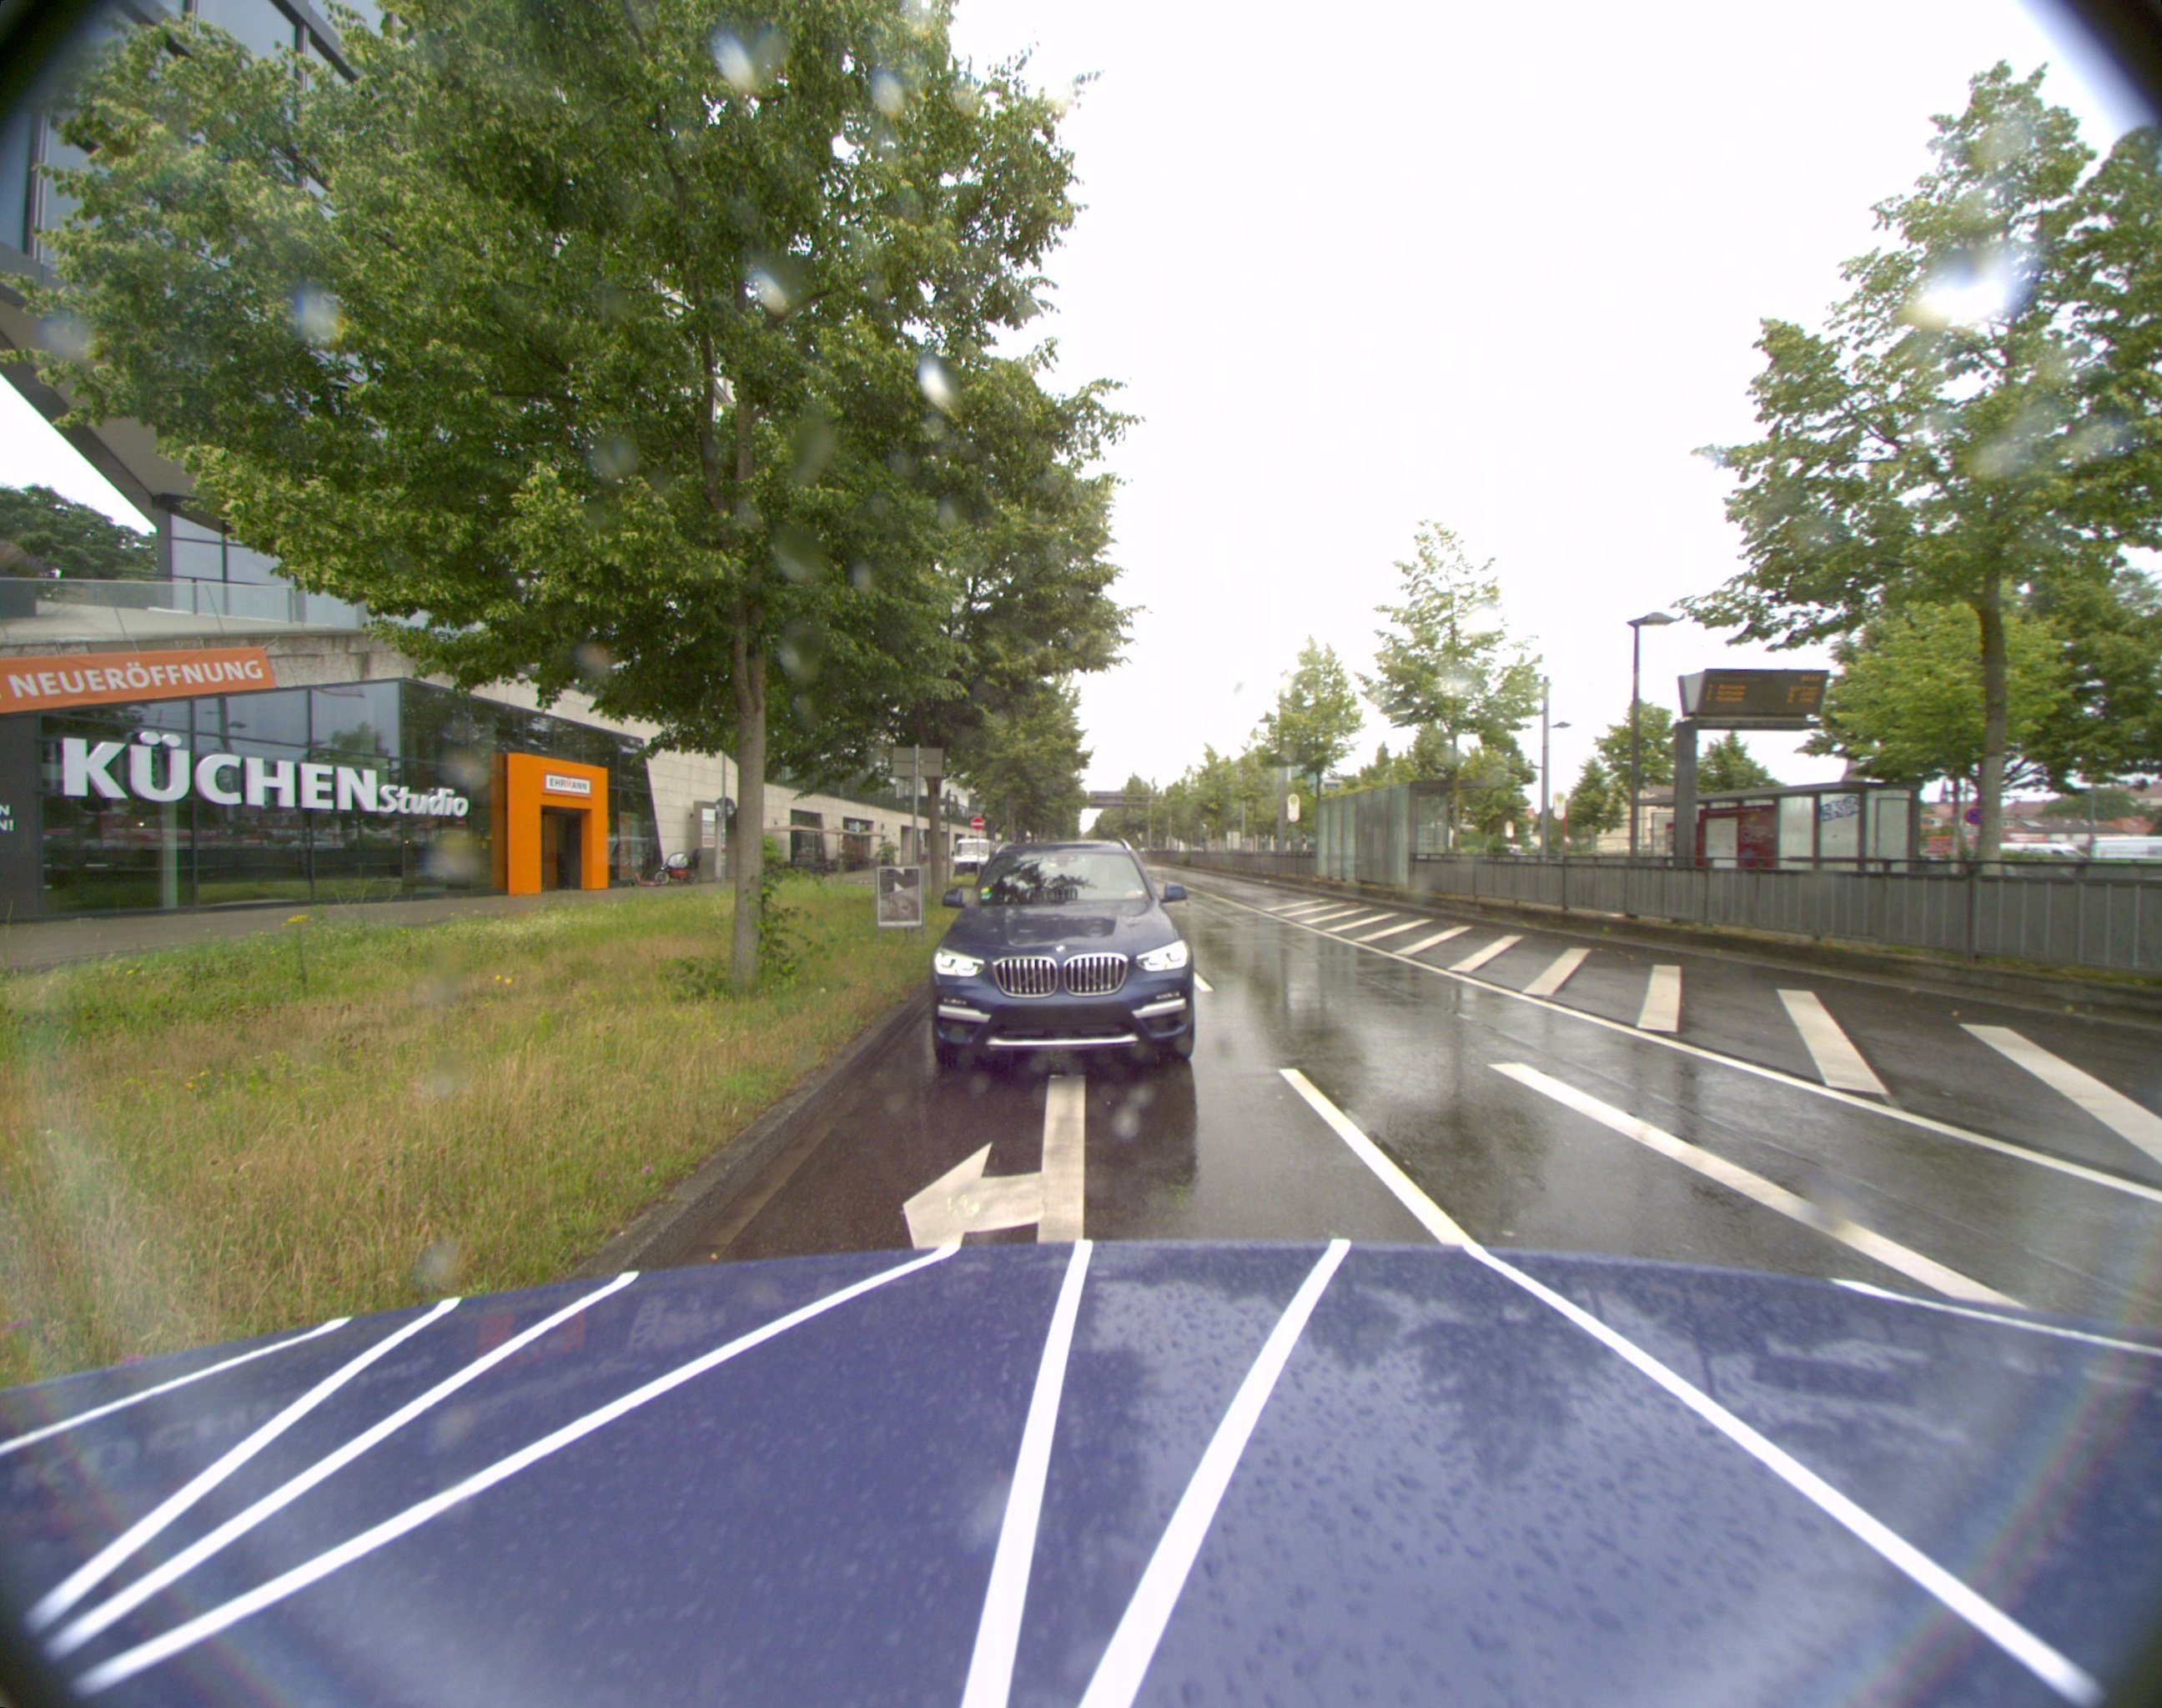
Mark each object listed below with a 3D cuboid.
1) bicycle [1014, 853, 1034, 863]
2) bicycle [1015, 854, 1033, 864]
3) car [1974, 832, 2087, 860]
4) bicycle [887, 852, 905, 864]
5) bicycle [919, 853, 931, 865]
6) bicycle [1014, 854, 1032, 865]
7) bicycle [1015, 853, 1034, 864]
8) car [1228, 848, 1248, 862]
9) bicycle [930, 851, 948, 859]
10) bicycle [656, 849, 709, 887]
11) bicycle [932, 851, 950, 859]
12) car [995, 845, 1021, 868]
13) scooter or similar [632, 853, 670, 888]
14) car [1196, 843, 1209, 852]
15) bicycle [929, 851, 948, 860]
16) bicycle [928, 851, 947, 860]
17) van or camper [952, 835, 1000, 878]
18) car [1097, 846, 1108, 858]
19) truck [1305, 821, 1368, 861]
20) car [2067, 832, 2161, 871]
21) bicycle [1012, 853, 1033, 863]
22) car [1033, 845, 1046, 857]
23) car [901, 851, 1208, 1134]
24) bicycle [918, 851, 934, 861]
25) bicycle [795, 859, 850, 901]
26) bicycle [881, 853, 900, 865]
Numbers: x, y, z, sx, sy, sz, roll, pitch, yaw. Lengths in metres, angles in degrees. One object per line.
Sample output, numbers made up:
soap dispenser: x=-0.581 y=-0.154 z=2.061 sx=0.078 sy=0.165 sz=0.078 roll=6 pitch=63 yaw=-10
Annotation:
bicycle: x=-5.679 y=0.419 z=75.492 sx=1.882 sy=0.940 sz=0.395 roll=-2 pitch=2 yaw=-4
bicycle: x=-5.536 y=0.465 z=73.660 sx=1.649 sy=0.940 sz=0.395 roll=-2 pitch=2 yaw=-4
car: x=84.247 y=-0.736 z=67.571 sx=2.000 sy=2.293 sz=6.138 roll=-3 pitch=1 yaw=-9
bicycle: x=-15.118 y=0.371 z=61.935 sx=0.396 sy=0.940 sz=2.024 roll=-4 pitch=2 yaw=-45
bicycle: x=-13.211 y=0.392 z=64.507 sx=0.402 sy=0.940 sz=1.859 roll=-1 pitch=1 yaw=8
bicycle: x=-5.541 y=0.500 z=72.962 sx=1.699 sy=0.940 sz=0.395 roll=-2 pitch=2 yaw=-4
bicycle: x=-5.598 y=0.428 z=74.935 sx=1.862 sy=0.940 sz=0.395 roll=-2 pitch=2 yaw=-4
car: x=22.171 y=0.128 z=107.387 sx=1.762 sy=2.002 sz=3.997 roll=0 pitch=1 yaw=-6
bicycle: x=-15.960 y=0.106 z=85.411 sx=2.029 sy=0.940 sz=0.395 roll=1 pitch=1 yaw=-4
bicycle: x=-15.418 y=0.509 z=29.478 sx=0.734 sy=1.394 sz=2.425 roll=1 pitch=0 yaw=1
bicycle: x=-15.991 y=0.097 z=86.662 sx=2.029 sy=0.940 sz=0.395 roll=1 pitch=1 yaw=-4
car: x=-5.935 y=0.161 z=62.212 sx=1.746 sy=1.749 sz=4.847 roll=-1 pitch=1 yaw=0
scooter or similar: x=-15.654 y=0.597 z=27.688 sx=0.342 sy=1.221 sz=1.242 roll=-2 pitch=2 yaw=19
car: x=26.454 y=-1.383 z=165.017 sx=1.999 sy=1.736 sz=3.998 roll=-2 pitch=1 yaw=-2
bicycle: x=-15.860 y=0.132 z=84.295 sx=2.029 sy=0.940 sz=0.395 roll=1 pitch=1 yaw=-4
bicycle: x=-15.811 y=0.140 z=83.544 sx=2.029 sy=0.940 sz=0.395 roll=1 pitch=1 yaw=-4
van or camper: x=-5.907 y=0.098 z=43.393 sx=2.030 sy=2.279 sz=5.458 roll=-1 pitch=1 yaw=0
car: x=4.105 y=-0.366 z=145.255 sx=1.998 sy=2.232 sz=3.999 roll=-2 pitch=1 yaw=1
truck: x=26.030 y=-1.351 z=78.023 sx=2.695 sy=3.756 sz=9.177 roll=-2 pitch=1 yaw=-4
car: x=69.994 y=-0.189 z=49.718 sx=1.999 sy=2.448 sz=6.744 roll=-2 pitch=1 yaw=-4
bicycle: x=-5.860 y=0.408 z=76.413 sx=2.040 sy=0.940 sz=0.395 roll=-2 pitch=2 yaw=-4
car: x=-6.031 y=-0.456 z=111.473 sx=1.659 sy=1.711 sz=3.999 roll=-2 pitch=1 yaw=0
car: x=-0.130 y=0.849 z=6.646 sx=1.816 sy=1.603 sz=3.999 roll=-2 pitch=1 yaw=1
bicycle: x=-16.231 y=0.195 z=79.656 sx=1.657 sy=0.940 sz=0.347 roll=1 pitch=2 yaw=19
bicycle: x=-8.609 y=0.861 z=25.281 sx=1.843 sy=1.338 sz=0.533 roll=-1 pitch=0 yaw=26
bicycle: x=-15.388 y=0.394 z=61.341 sx=0.396 sy=0.940 sz=2.024 roll=-4 pitch=2 yaw=-45
